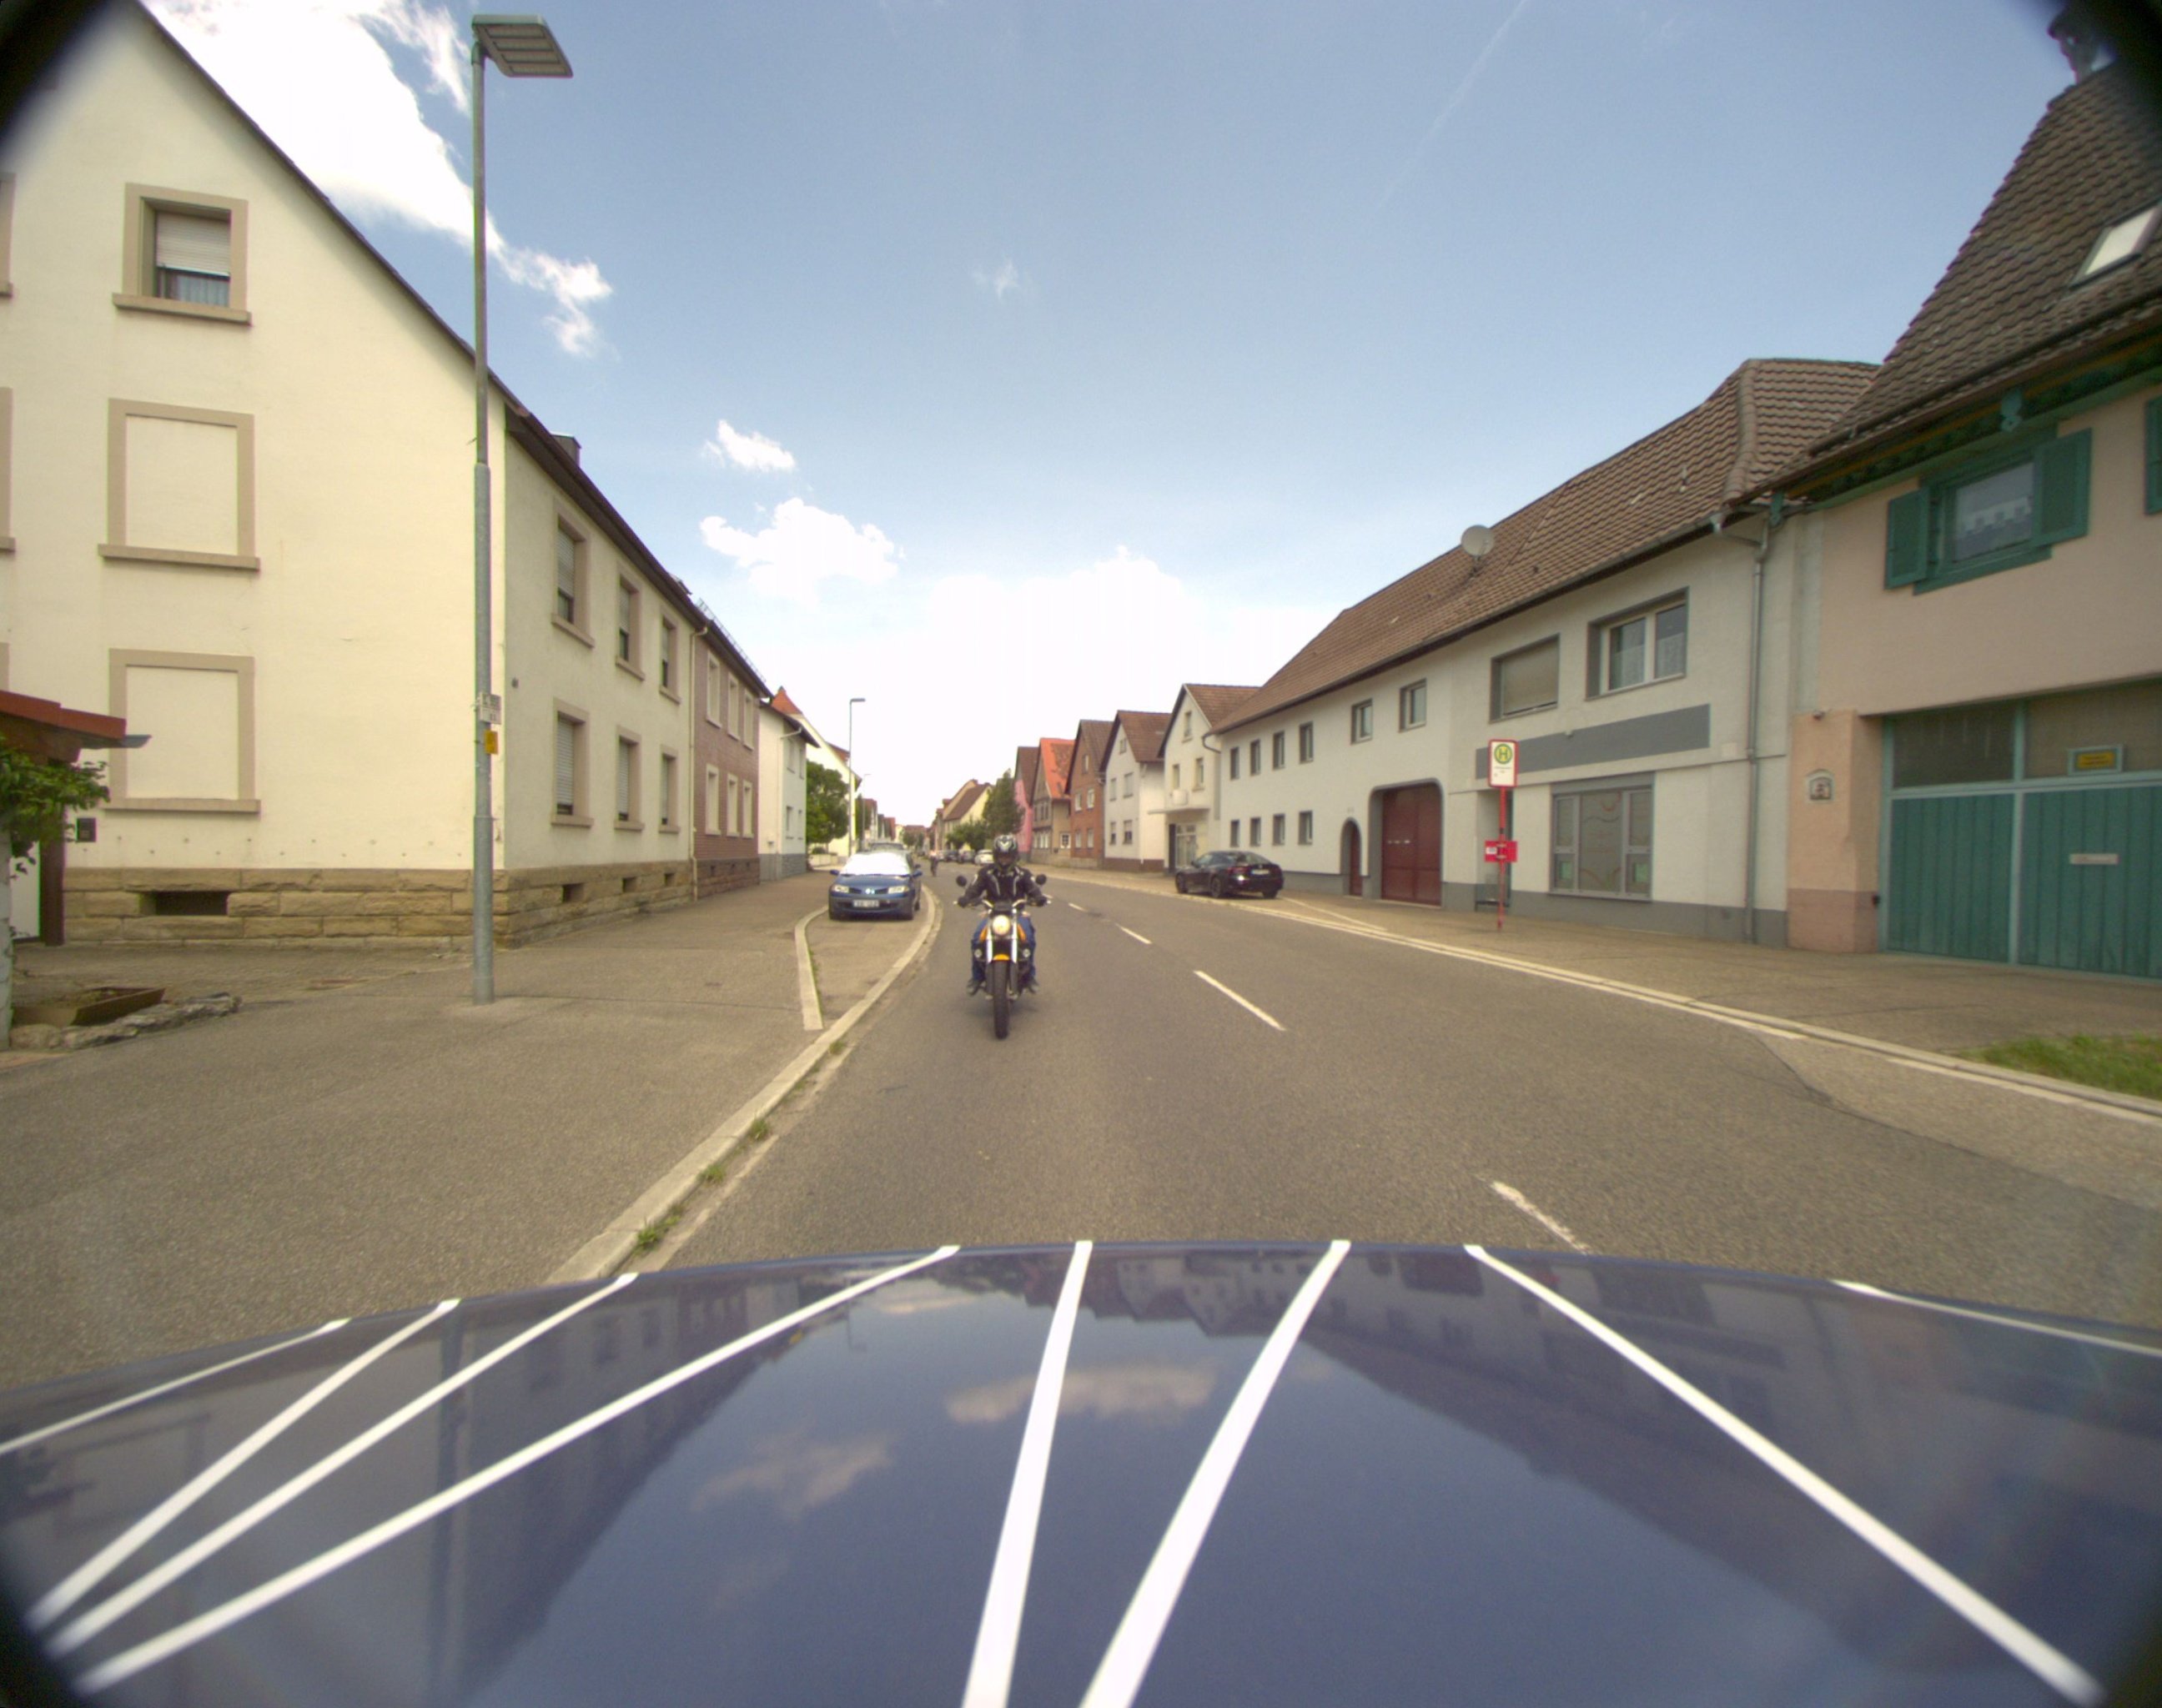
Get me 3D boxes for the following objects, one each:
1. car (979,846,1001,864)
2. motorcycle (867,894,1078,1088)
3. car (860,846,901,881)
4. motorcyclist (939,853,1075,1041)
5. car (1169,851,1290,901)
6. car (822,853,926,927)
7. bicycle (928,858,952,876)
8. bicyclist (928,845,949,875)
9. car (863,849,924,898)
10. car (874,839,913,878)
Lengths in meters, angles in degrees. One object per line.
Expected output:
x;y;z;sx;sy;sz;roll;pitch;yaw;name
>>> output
-8.494;0.102;70.545;1.685;1.521;3.494;-1;2;-12;car
-0.799;1.027;6.466;0.984;1.233;2.105;-2;0;15;motorcycle
-9.501;0.393;35.801;1.746;1.495;4.551;0;1;-16;car
-0.655;0.804;7.026;0.999;1.591;0.800;0;3;15;motorcyclist
4.321;0.587;23.007;1.772;1.341;4.750;-1;0;-14;car
-4.587;0.724;17.355;1.728;1.378;3.996;0;2;-7;car
-7.991;0.719;43.135;0.933;1.005;1.925;-1;0;3;bicycle
-8.033;0.335;42.861;0.909;1.679;0.761;-1;2;4;bicyclist
-6.222;0.656;25.589;1.774;1.520;3.997;0;-1;-11;car
-10.286;0.176;41.807;1.932;1.905;5.238;-2;2;-14;car
